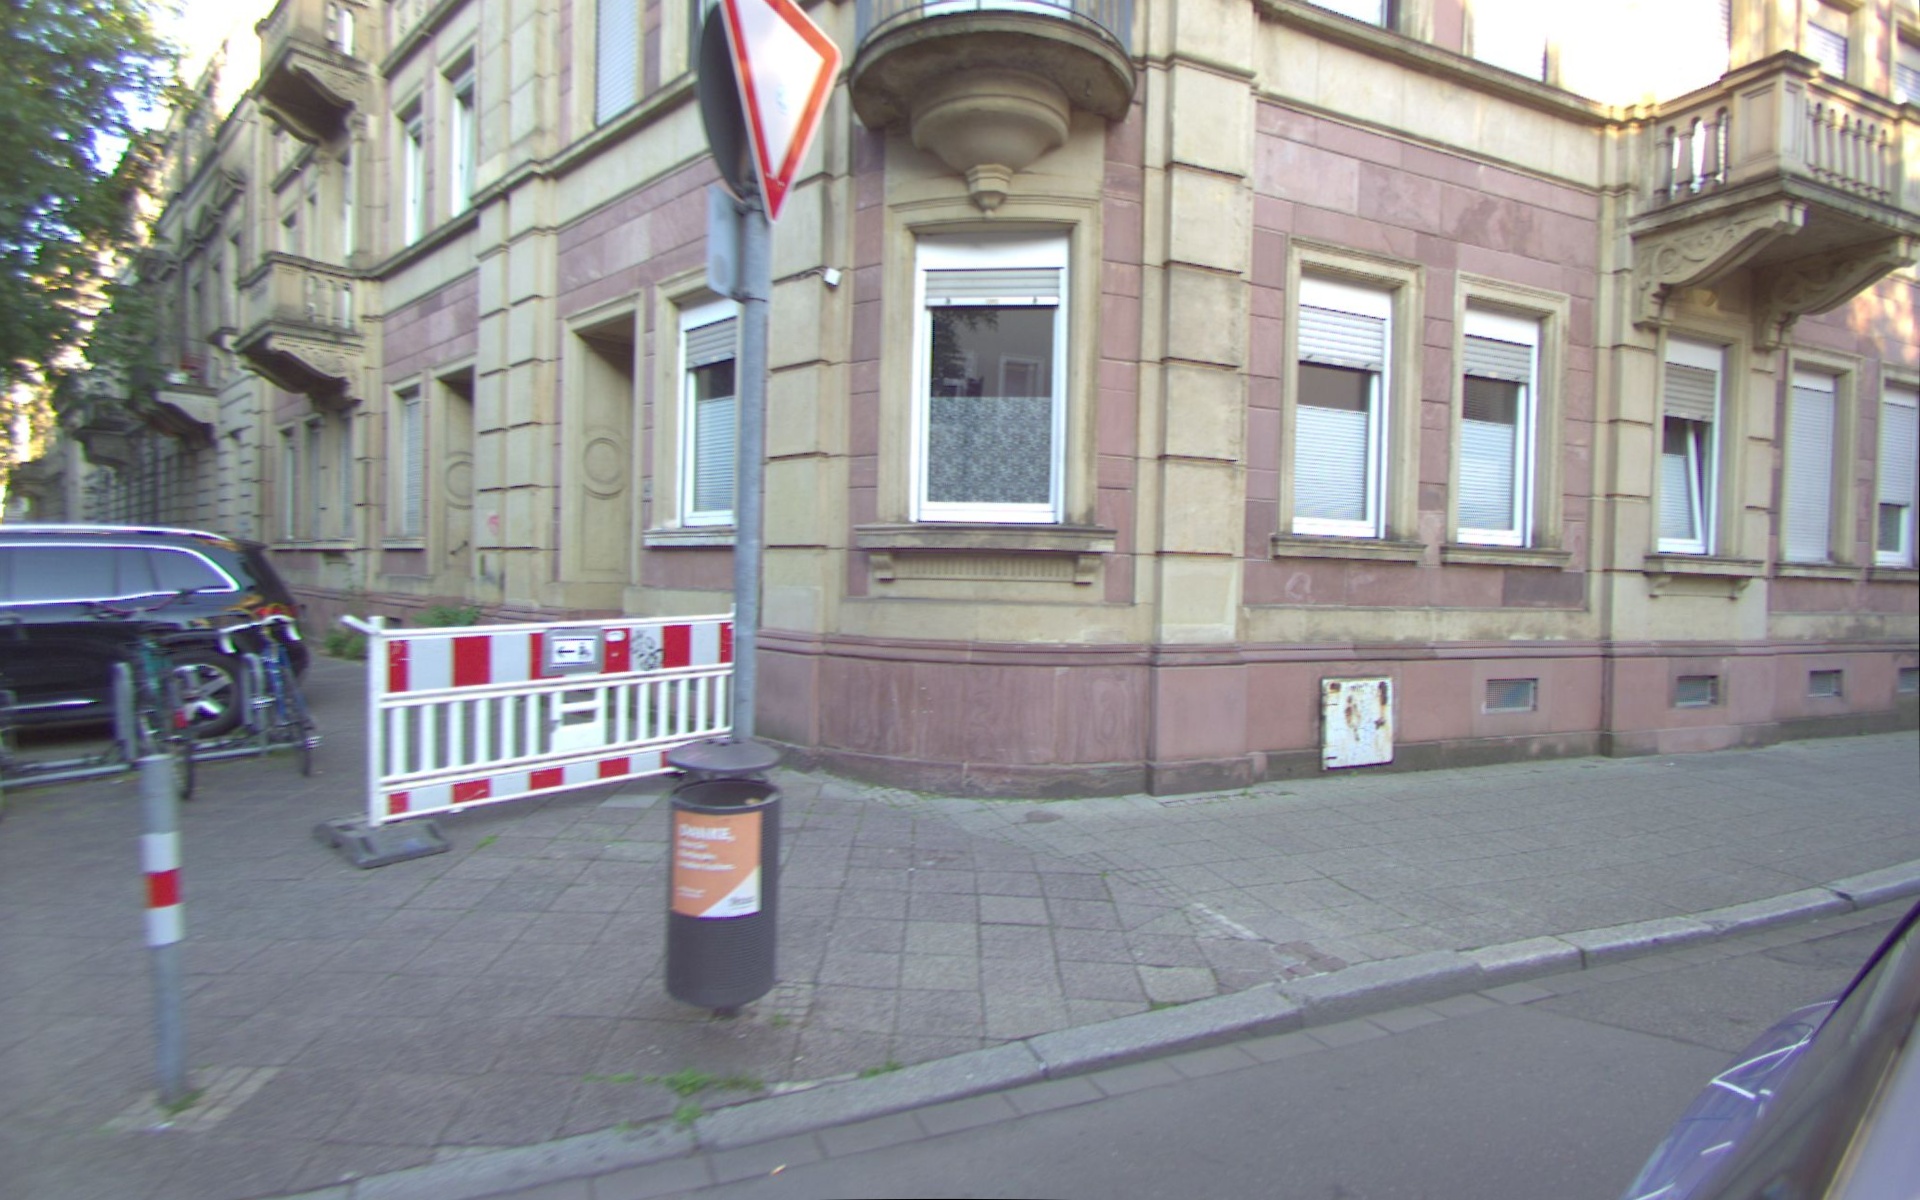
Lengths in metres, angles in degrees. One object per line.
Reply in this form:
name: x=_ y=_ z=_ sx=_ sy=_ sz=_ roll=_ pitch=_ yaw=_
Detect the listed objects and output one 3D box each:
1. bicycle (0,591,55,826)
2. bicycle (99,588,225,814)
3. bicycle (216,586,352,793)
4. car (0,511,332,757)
bicycle: x=-5.515 y=0.549 z=5.797 sx=1.865 sy=1.102 sz=0.359 roll=4 pitch=4 yaw=45
bicycle: x=-4.842 y=0.526 z=6.102 sx=1.865 sy=1.102 sz=0.359 roll=4 pitch=4 yaw=45
bicycle: x=-4.433 y=0.506 z=6.583 sx=1.865 sy=1.102 sz=0.359 roll=4 pitch=4 yaw=45
car: x=-7.604 y=0.209 z=7.699 sx=1.772 sy=1.759 sz=4.519 roll=4 pitch=4 yaw=45
